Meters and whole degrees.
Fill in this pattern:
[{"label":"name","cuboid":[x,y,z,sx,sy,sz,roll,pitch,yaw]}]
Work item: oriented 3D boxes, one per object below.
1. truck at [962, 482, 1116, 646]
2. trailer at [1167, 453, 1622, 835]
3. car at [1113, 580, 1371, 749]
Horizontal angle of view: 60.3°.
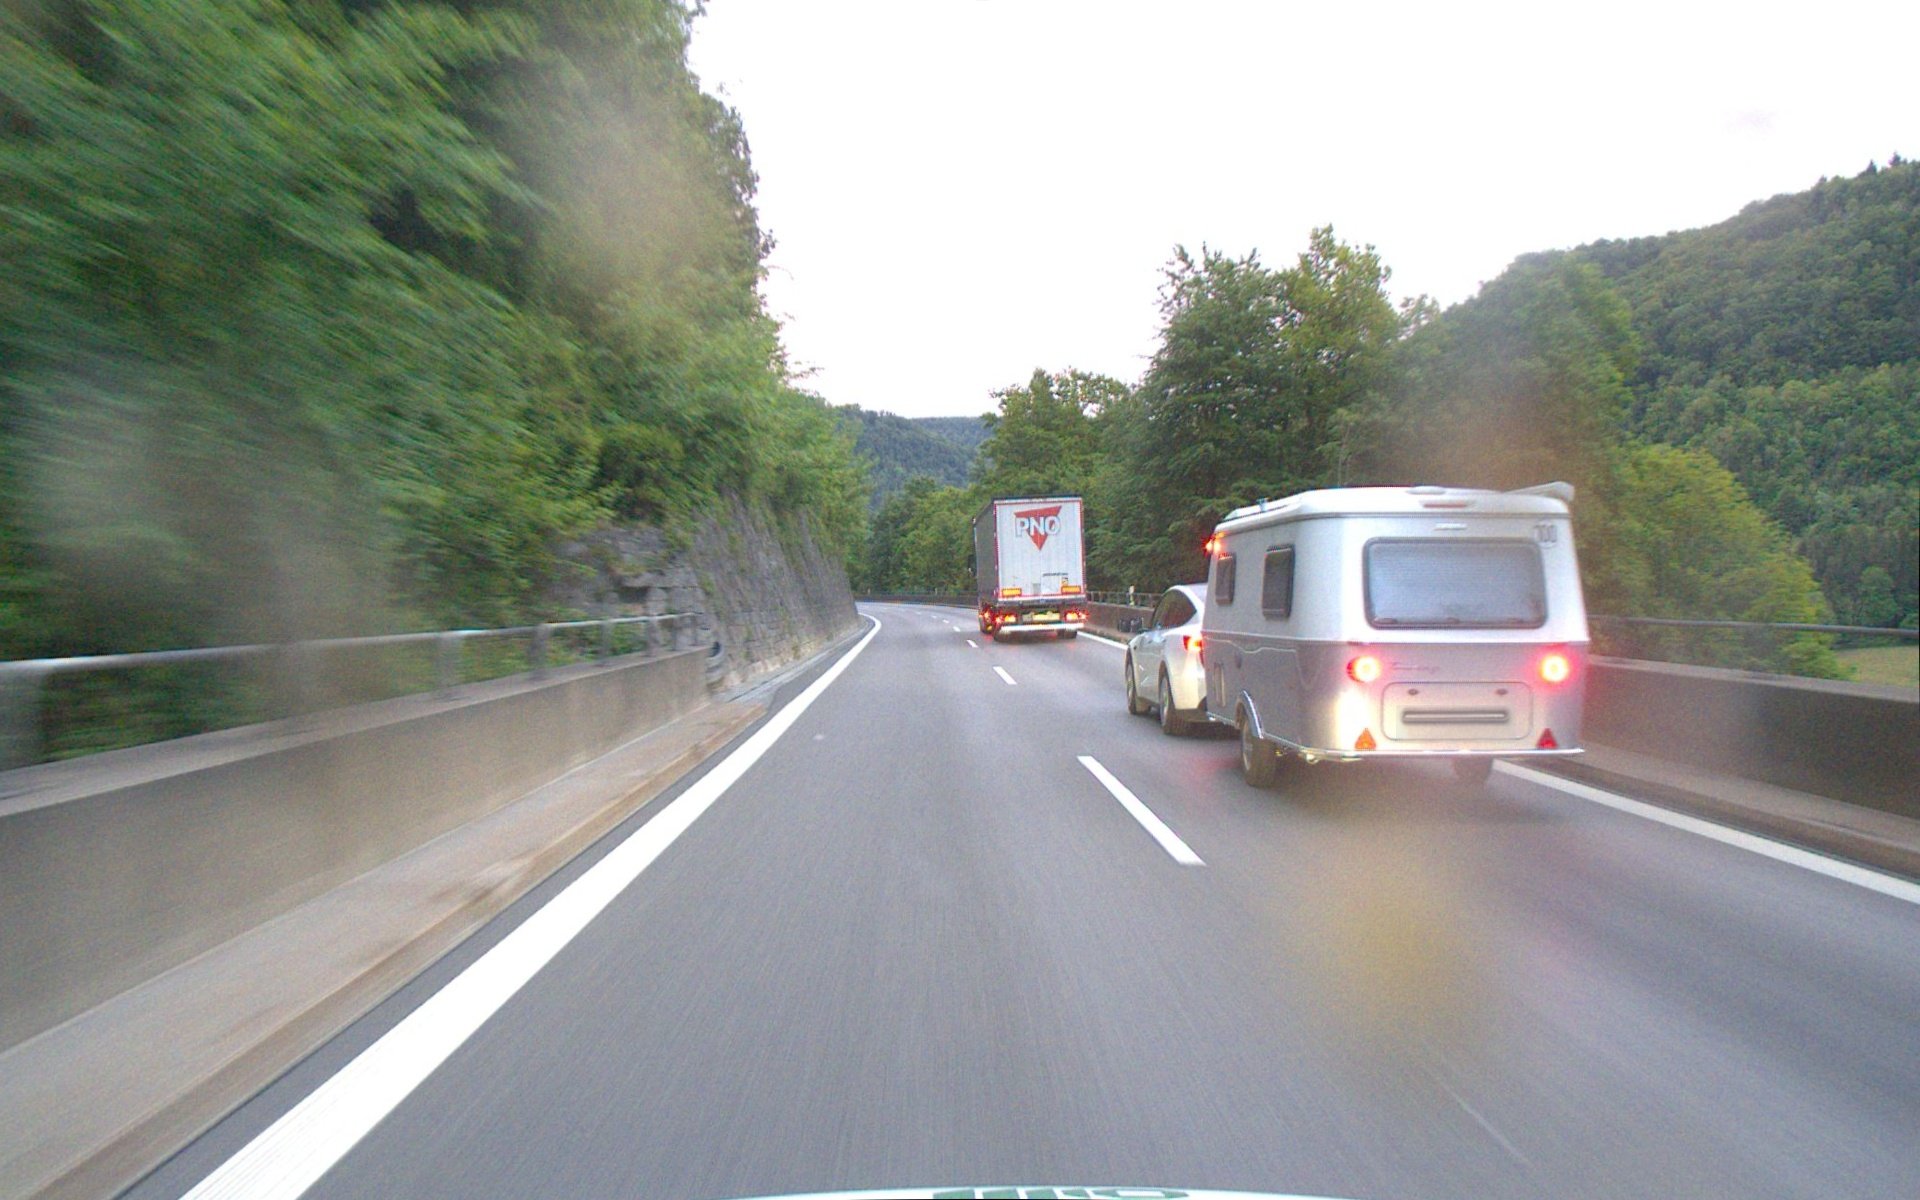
[{"label":"truck","cuboid":[2.145,-0.956,52.869,3.229,4.245,16.493,-3,0,-3]},{"label":"trailer","cuboid":[3.214,0.272,13.765,2.013,2.416,5.936,-2,0,-2]},{"label":"car","cuboid":[3.083,0.654,19.168,1.953,1.642,4.862,-2,0,-2]}]
